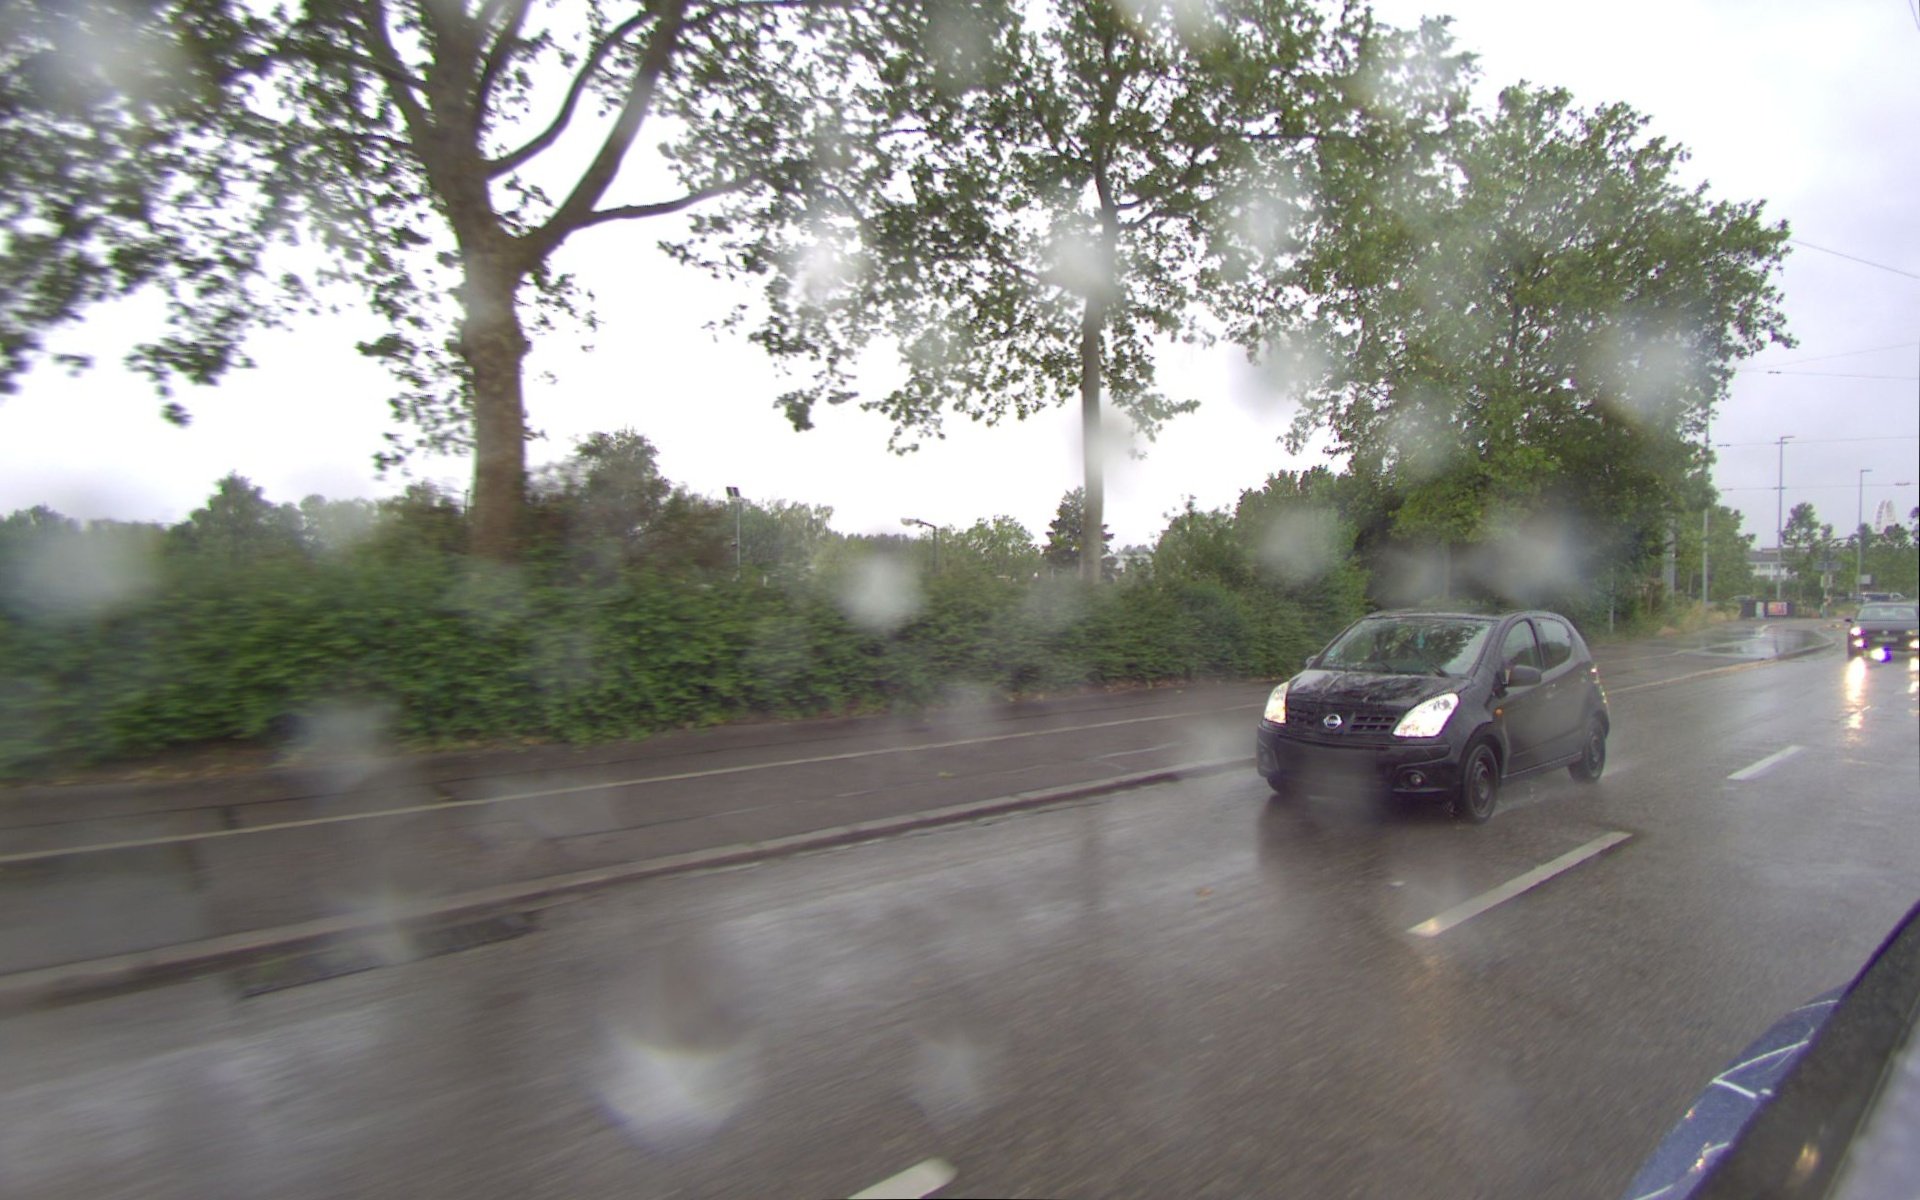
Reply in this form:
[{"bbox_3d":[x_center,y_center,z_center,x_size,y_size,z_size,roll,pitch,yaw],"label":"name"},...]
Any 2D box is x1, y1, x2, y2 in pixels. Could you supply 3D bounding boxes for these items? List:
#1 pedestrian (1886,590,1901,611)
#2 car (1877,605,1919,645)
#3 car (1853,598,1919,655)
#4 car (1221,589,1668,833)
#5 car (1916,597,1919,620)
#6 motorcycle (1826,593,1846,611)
[{"bbox_3d":[72.075,0.045,78.105,0.607,1.631,0.734,-1,2,-40],"label":"pedestrian"},{"bbox_3d":[38.295,0.984,40.600,3.971,1.544,1.714,1,-1,-40],"label":"car"},{"bbox_3d":[26.687,0.731,28.513,3.971,1.504,1.714,1,-1,-40],"label":"car"},{"bbox_3d":[4.041,0.705,8.159,4.019,1.480,1.775,1,-1,-40],"label":"car"},{"bbox_3d":[66.556,0.610,68.860,4.103,1.544,1.714,1,-1,-40],"label":"car"},{"bbox_3d":[63.943,0.147,73.853,1.418,1.234,0.635,1,1,-28],"label":"motorcycle"}]
